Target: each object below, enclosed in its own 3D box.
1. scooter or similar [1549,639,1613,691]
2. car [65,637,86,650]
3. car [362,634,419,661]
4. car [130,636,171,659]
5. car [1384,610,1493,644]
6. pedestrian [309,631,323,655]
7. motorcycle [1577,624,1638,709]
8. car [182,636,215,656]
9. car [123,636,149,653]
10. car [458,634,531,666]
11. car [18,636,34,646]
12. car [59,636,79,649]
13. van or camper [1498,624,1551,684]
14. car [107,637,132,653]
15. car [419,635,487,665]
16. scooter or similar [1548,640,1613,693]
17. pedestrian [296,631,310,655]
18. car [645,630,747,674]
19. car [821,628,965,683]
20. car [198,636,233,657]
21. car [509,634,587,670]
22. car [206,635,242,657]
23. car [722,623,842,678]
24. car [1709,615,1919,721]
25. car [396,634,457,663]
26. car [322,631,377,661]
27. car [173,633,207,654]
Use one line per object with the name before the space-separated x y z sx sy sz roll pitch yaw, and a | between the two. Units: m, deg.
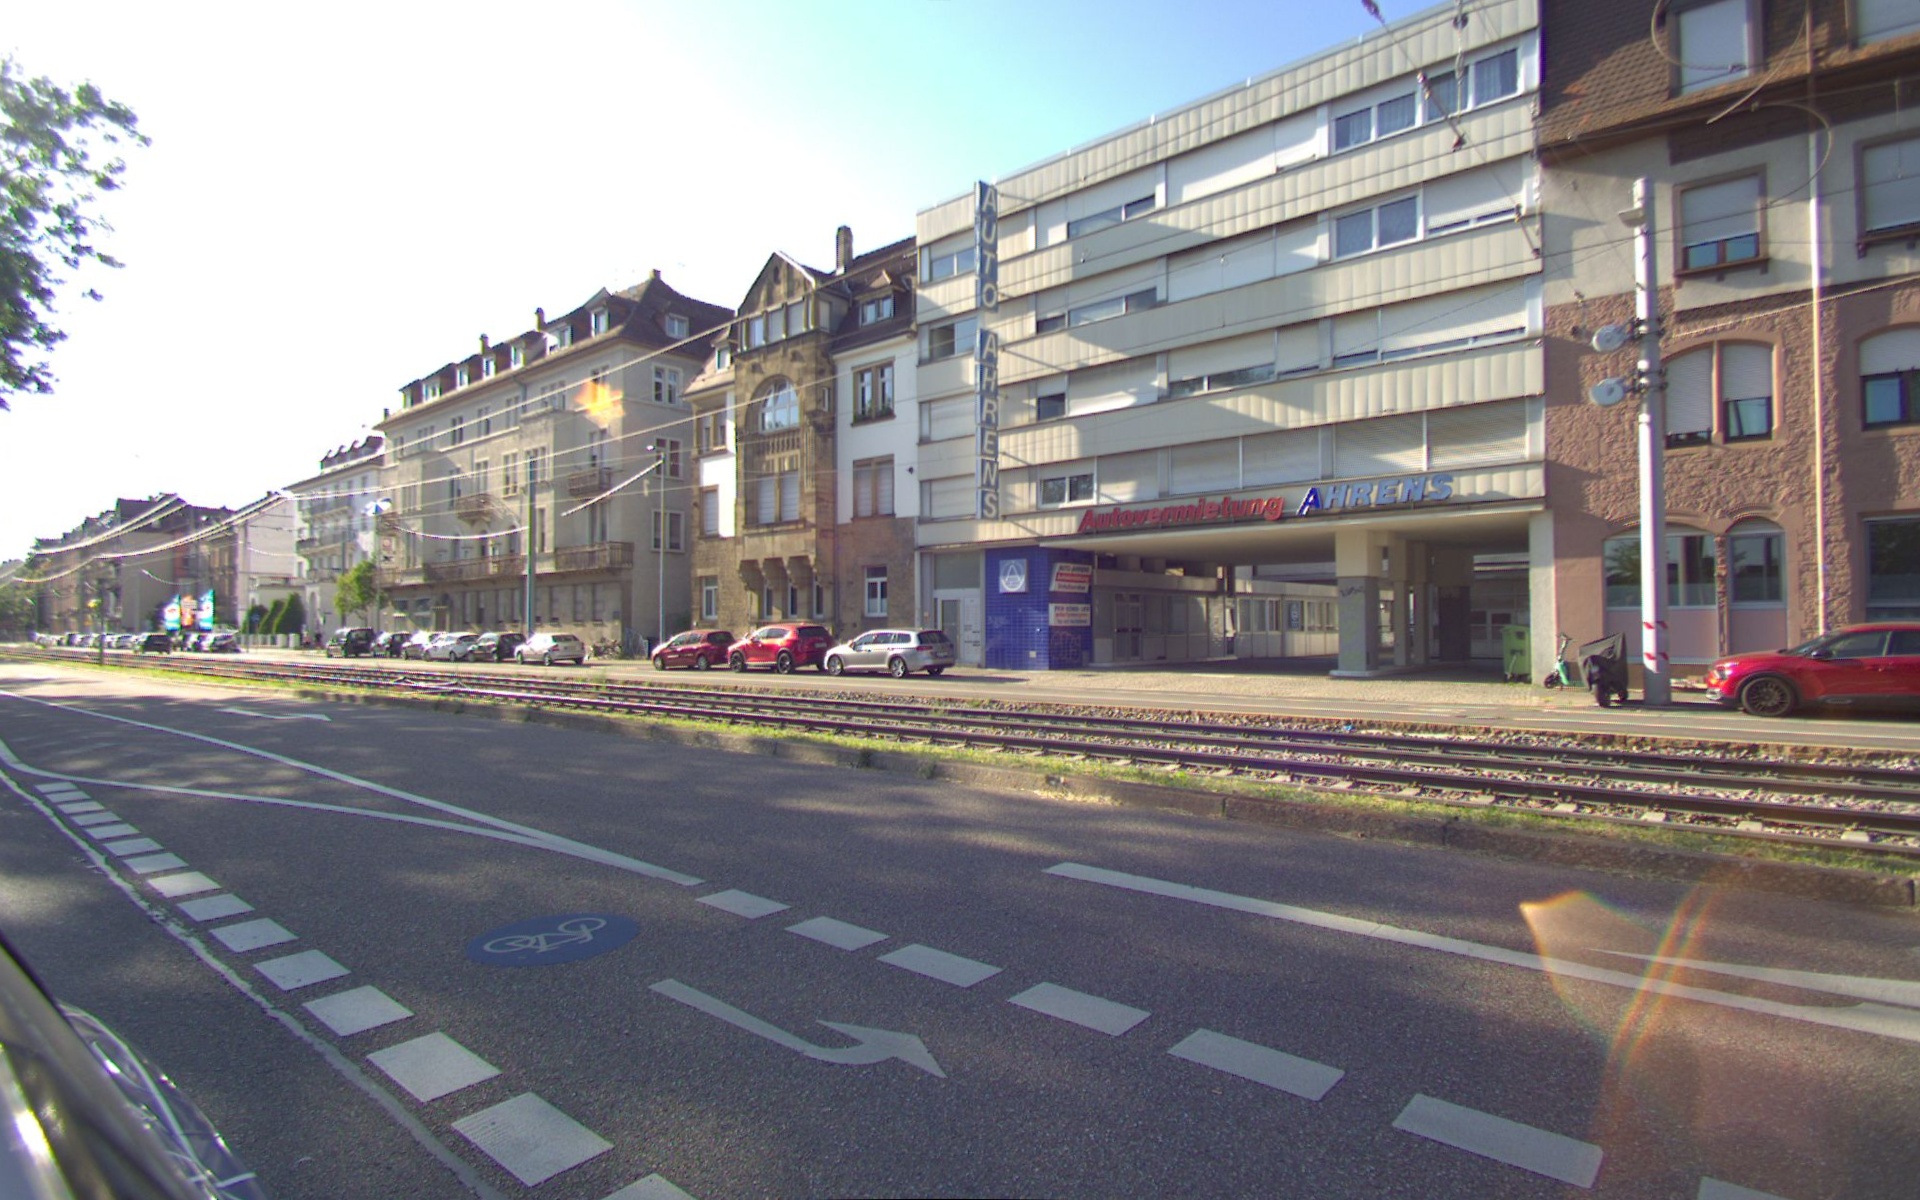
scooter or similar | 13.240 1.387 21.588 1.121 1.077 0.202 -2 -1 42
car | -114.353 5.571 130.805 3.449 1.602 1.603 -2 -1 41
car | -33.768 2.804 59.993 3.822 1.490 1.778 -2 -1 42
car | -61.523 3.593 76.929 3.999 1.697 1.798 -2 -3 42
car | 33.724 1.940 71.503 6.596 2.275 2.330 -2 -3 41
pedestrian | -49.060 3.254 77.146 0.677 1.803 0.716 -2 -3 41
motorcycle | 11.987 1.198 18.711 0.628 1.433 1.836 -3 -1 41
car | -66.031 3.973 87.739 3.387 1.583 1.662 -2 -1 41
car | -85.116 4.581 104.513 3.449 1.602 1.603 -2 -1 41
car | -22.869 2.446 49.689 3.819 1.441 1.779 -2 -1 40
car | -151.636 6.699 164.356 3.449 1.602 1.603 -2 -1 41
car | -118.163 5.656 134.175 3.449 1.602 1.603 -2 -1 41
van or camper | 13.349 1.267 23.928 0.803 1.368 1.409 -2 -3 41
car | -92.039 4.920 110.804 3.449 1.602 1.603 -2 -1 41
car | -26.162 2.554 52.208 3.531 1.457 1.624 -2 -1 34
scooter or similar | 13.099 1.396 21.389 1.121 1.077 0.202 -2 -1 42
pedestrian | -49.634 3.224 76.491 0.677 1.803 0.716 -2 -3 41
car | -9.983 1.949 38.245 3.722 1.507 1.736 -2 -1 36
car | -2.130 1.676 31.230 4.379 1.510 1.837 -2 -1 41
car | -61.950 3.846 84.168 3.387 1.583 1.662 -2 -1 41
car | -18.818 2.342 46.156 3.822 1.490 1.778 -2 -1 42
car | -58.390 3.637 80.306 3.407 1.644 1.655 -2 -1 42
car | -6.160 1.706 34.754 4.262 1.700 1.836 -2 -1 42
car | 14.674 1.051 16.184 4.207 1.510 1.837 -2 0 41
car | -29.473 2.641 55.884 3.822 1.490 1.778 -2 -1 42
car | -38.206 2.855 63.305 3.914 1.750 1.851 -2 -1 42
car | -69.622 3.902 91.474 3.879 1.800 1.705 -2 -1 41
